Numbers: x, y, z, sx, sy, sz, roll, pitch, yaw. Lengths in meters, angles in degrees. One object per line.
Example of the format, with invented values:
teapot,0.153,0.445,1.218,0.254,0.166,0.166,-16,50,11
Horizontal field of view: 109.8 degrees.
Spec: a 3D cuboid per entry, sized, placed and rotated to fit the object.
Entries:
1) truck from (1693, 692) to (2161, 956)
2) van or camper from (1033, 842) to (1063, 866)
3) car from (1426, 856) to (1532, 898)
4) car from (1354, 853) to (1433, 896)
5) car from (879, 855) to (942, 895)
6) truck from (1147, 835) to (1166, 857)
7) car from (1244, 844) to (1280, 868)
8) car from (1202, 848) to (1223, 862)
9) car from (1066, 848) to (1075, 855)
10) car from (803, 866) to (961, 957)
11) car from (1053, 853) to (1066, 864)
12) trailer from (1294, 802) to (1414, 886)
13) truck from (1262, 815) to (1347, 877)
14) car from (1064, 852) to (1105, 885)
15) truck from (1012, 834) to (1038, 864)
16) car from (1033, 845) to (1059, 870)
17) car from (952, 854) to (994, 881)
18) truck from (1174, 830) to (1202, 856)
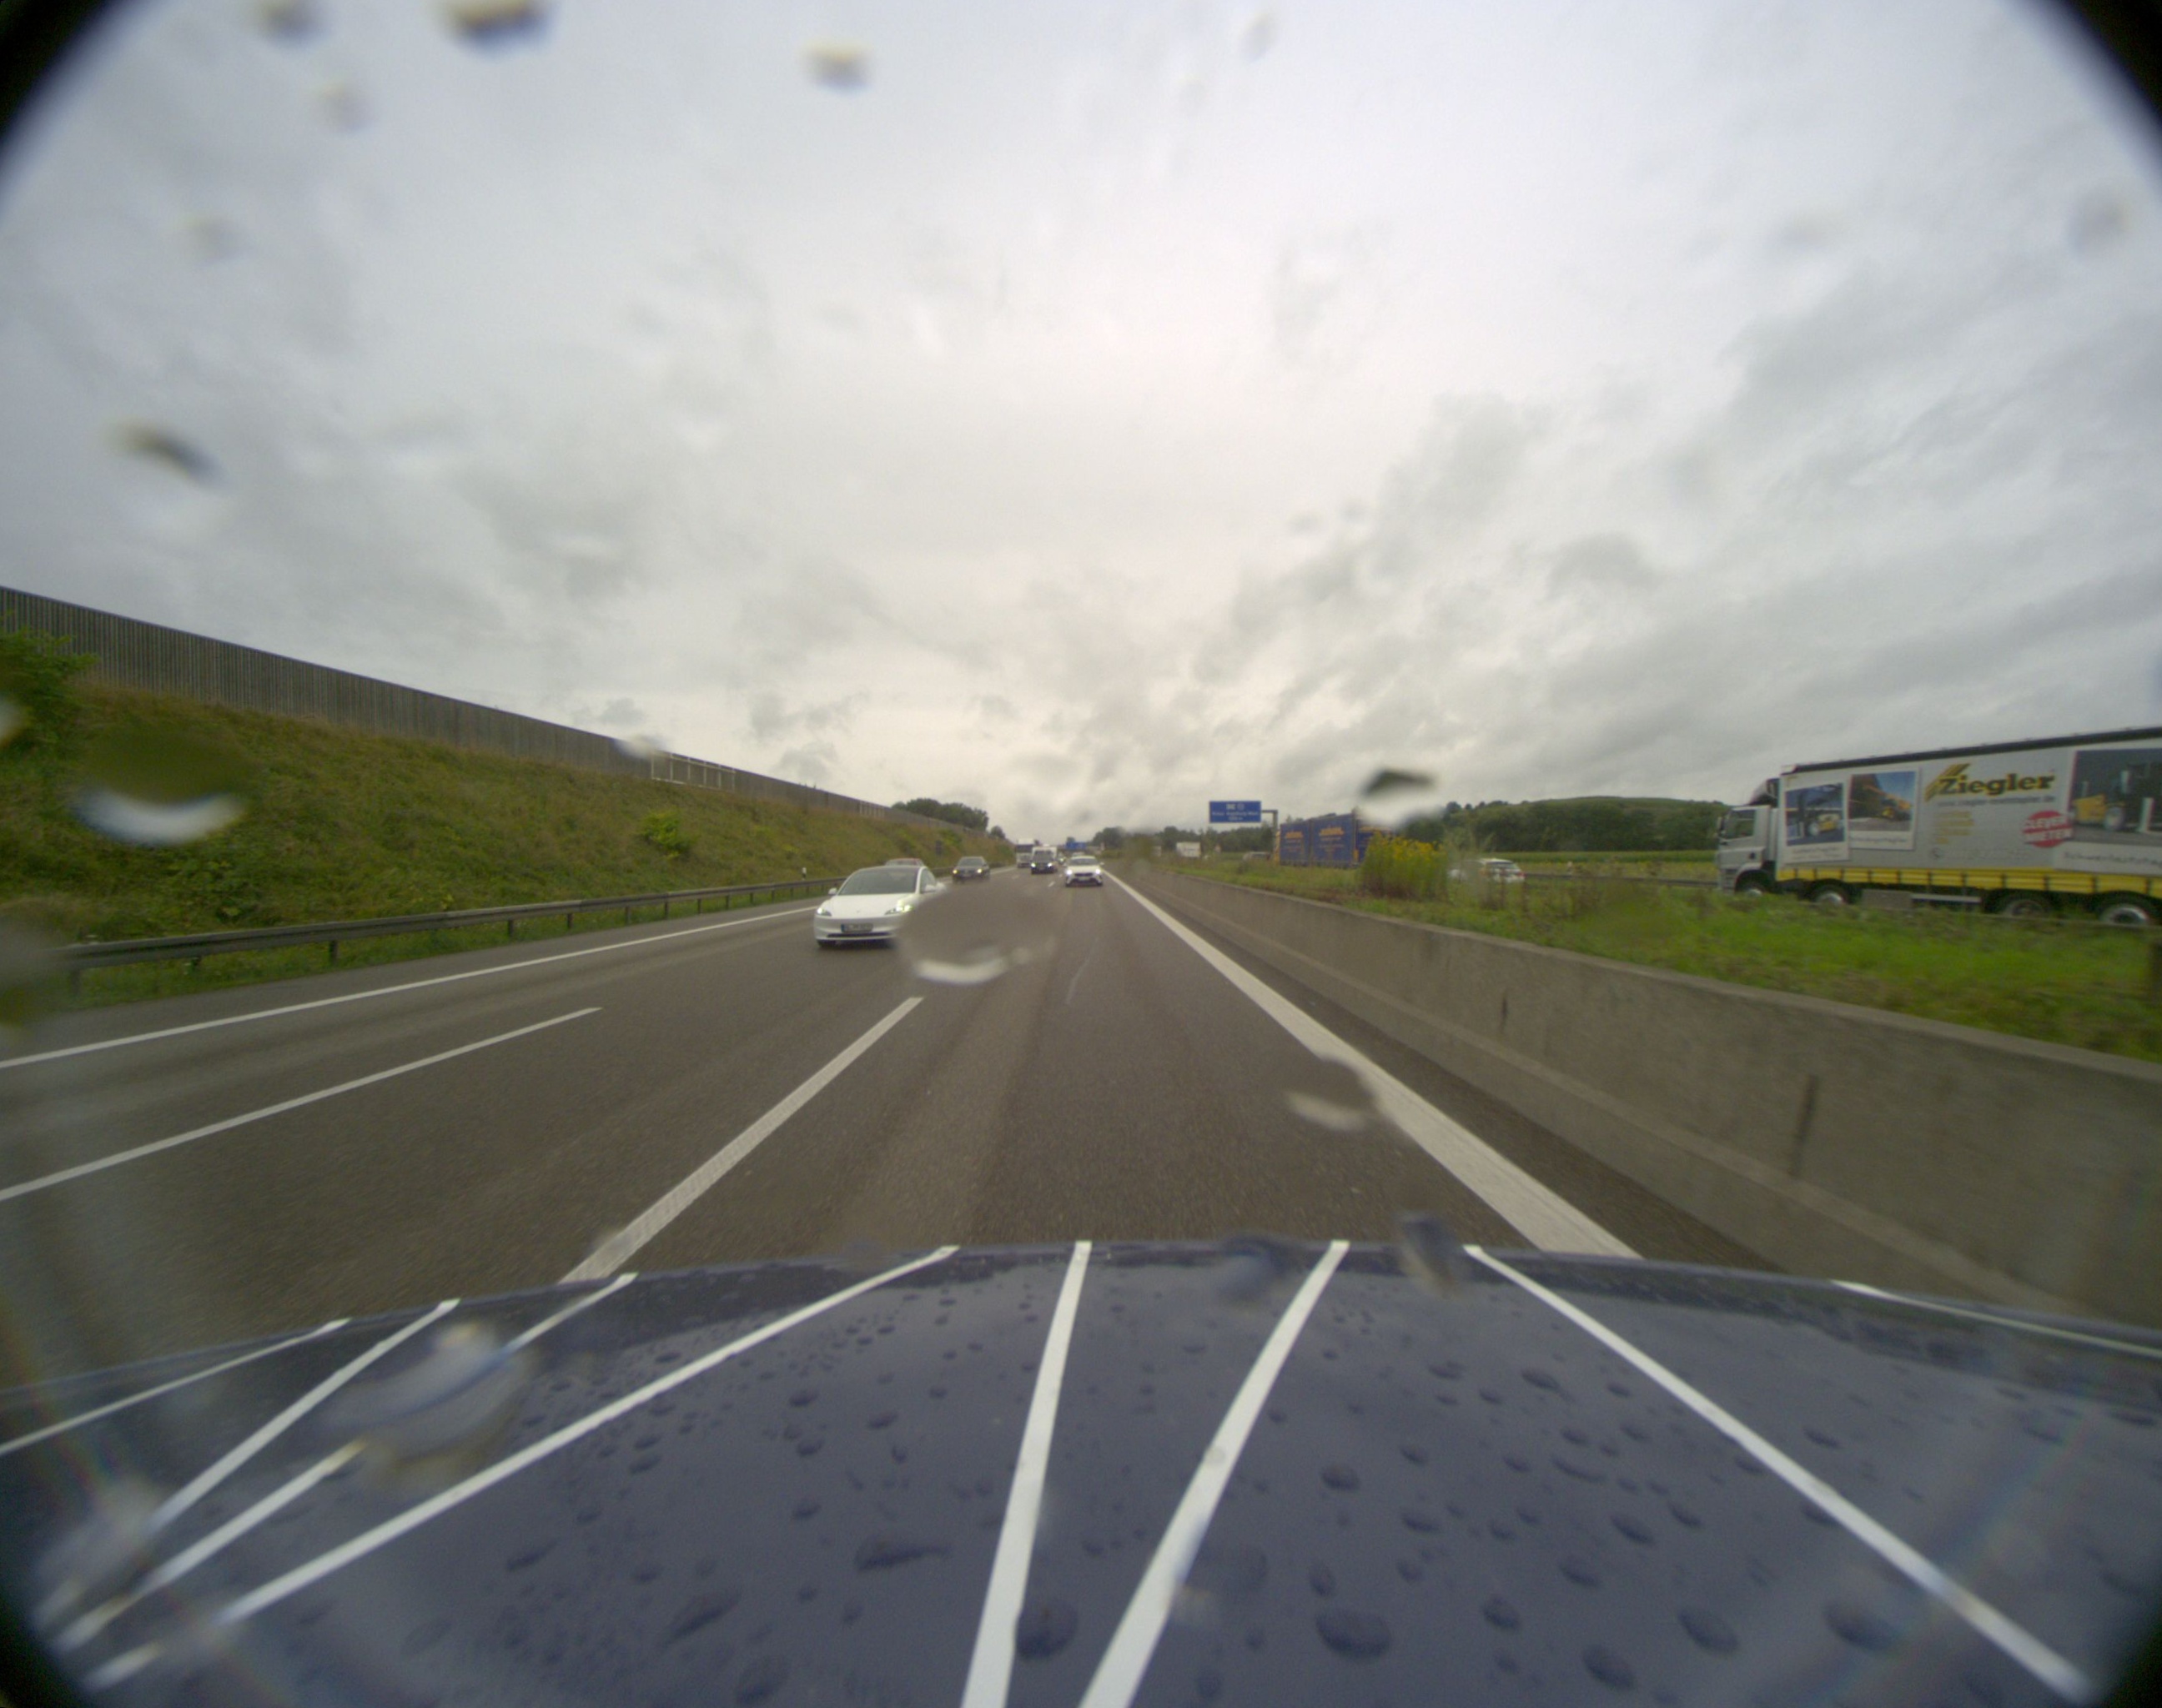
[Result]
truck,19.959,-0.607,16.544,3.521,4.458,11.784,-2,1,-1
van or camper,-3.104,-0.055,73.087,2.432,2.139,6.497,-2,1,1
car,16.764,0.906,32.348,1.887,1.606,5.014,0,0,0
car,13.177,0.805,32.308,1.758,1.698,4.000,0,0,1
car,-7.510,0.881,33.788,1.878,1.526,3.999,-2,1,0
truck,17.063,-1.855,173.146,3.233,4.623,9.672,-2,1,0
car,13.944,0.112,58.657,1.871,1.774,4.000,0,1,1
car,17.629,0.145,102.101,1.998,1.674,3.999,-2,1,0
car,-2.610,-0.558,184.487,1.998,1.696,3.999,-2,1,1
car,-3.795,1.018,15.444,1.878,1.355,4.812,-2,1,0
car,-3.391,0.714,120.007,1.999,1.759,3.999,0,0,-2
trailer,17.338,-0.608,49.581,3.396,4.741,11.679,-2,0,-1
truck,17.357,-0.627,59.983,3.421,4.339,10.989,-2,1,1
car,0.187,0.684,37.730,1.841,1.455,3.999,-2,1,1
truck,-7.884,-0.750,108.230,3.090,4.003,6.955,-2,1,-1
car,-3.058,0.262,67.677,1.998,2.002,4.937,-2,1,1
car,-6.666,0.819,47.323,1.929,1.480,4.485,-2,1,0
truck,17.390,-1.743,124.185,3.192,3.944,10.809,-2,1,1
